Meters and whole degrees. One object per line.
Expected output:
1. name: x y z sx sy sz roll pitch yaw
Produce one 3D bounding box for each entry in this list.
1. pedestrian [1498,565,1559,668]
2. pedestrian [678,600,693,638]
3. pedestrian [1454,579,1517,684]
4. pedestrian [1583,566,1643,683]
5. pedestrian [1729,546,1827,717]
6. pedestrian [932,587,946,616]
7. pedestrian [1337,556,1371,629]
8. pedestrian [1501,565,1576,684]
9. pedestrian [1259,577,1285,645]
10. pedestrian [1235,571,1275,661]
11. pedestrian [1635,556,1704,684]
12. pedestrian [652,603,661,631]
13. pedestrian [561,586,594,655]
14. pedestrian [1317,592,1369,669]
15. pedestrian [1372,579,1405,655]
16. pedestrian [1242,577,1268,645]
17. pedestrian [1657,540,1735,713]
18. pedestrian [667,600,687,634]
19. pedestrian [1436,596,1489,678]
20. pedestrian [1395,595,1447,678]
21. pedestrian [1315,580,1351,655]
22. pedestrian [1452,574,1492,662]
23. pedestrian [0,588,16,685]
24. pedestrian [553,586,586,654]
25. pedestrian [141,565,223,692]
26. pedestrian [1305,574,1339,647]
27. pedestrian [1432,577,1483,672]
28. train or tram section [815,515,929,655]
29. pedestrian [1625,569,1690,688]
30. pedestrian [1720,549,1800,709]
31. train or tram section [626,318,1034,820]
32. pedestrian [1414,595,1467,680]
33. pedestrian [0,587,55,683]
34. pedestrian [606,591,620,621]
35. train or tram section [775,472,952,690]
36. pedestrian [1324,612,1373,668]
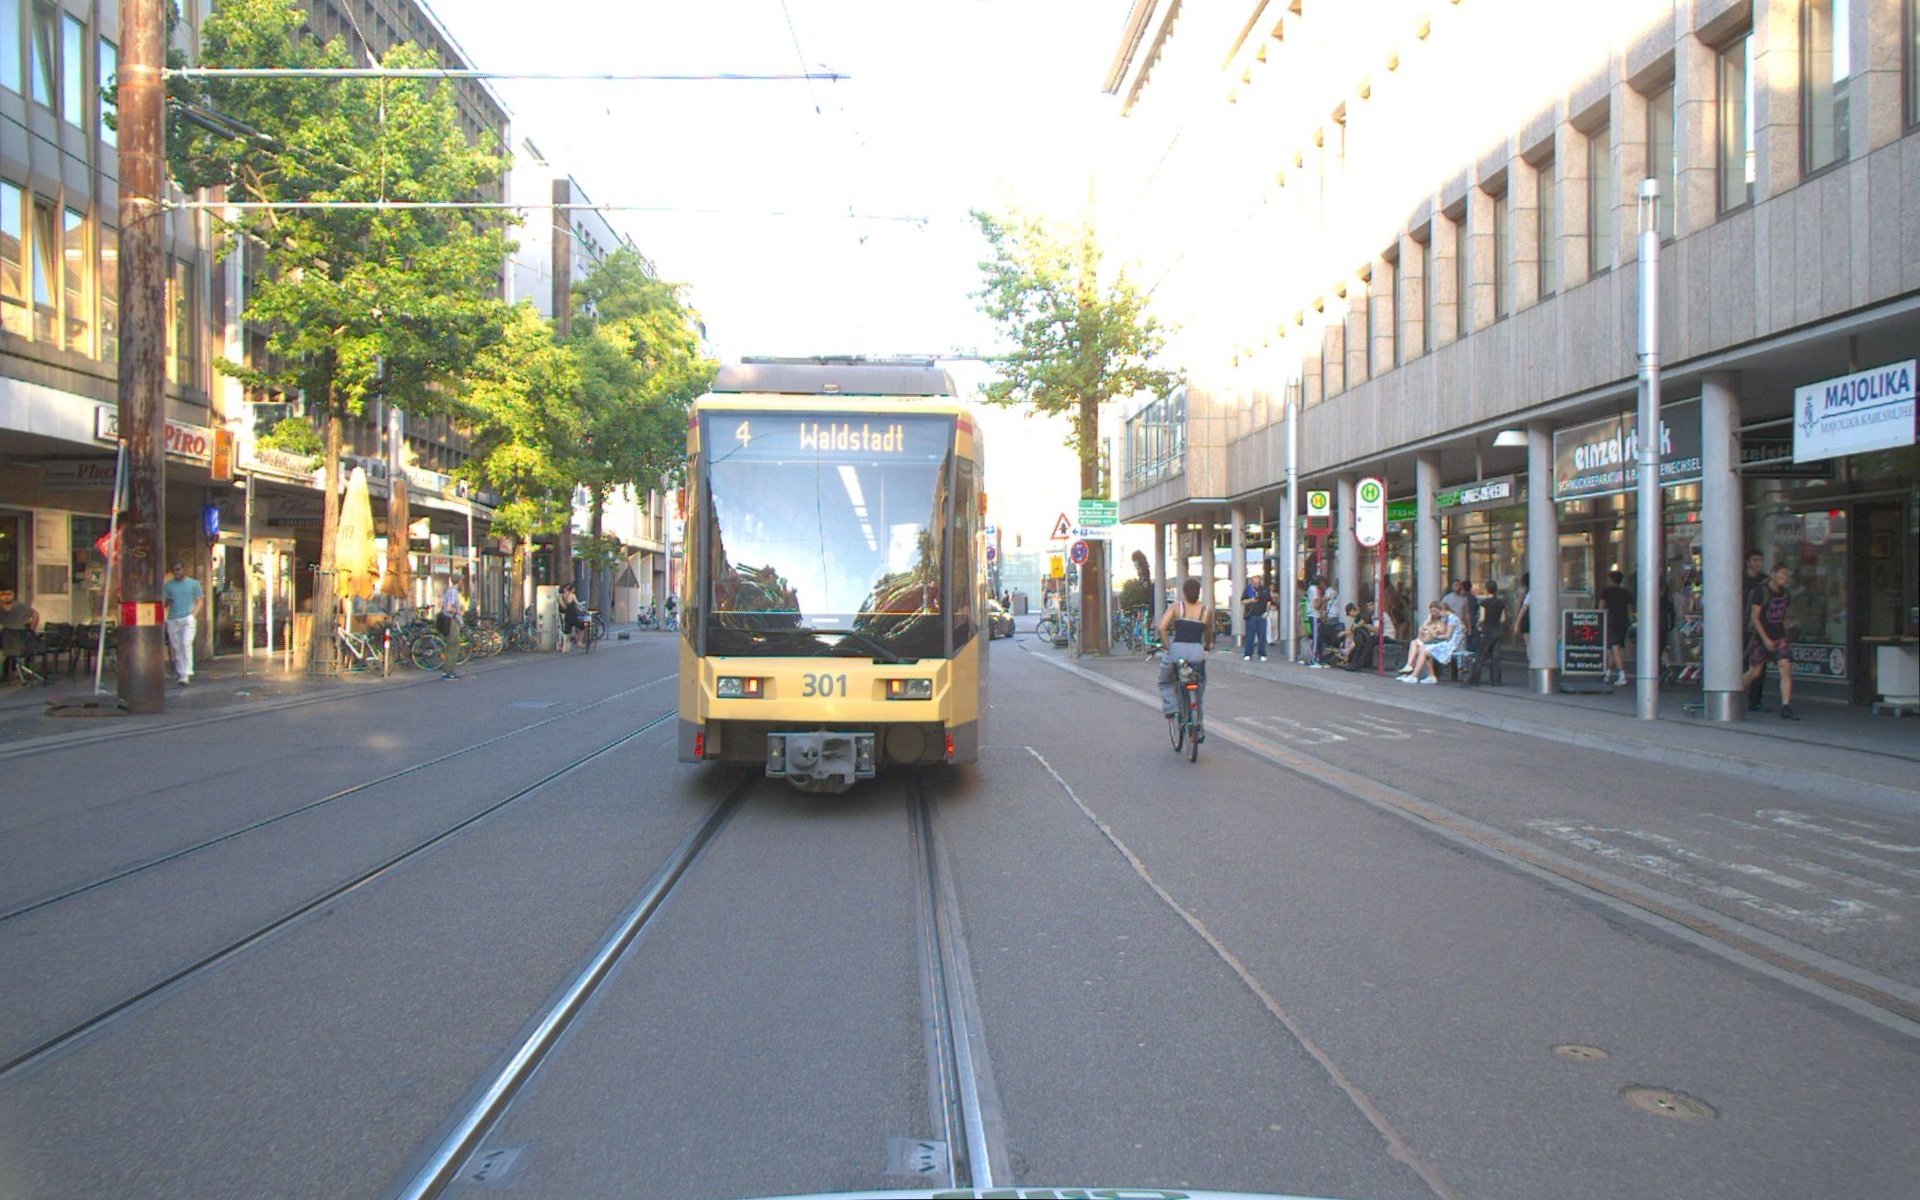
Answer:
1. pedestrian: 10.112 0.292 29.434 0.757 1.803 0.773 -1 0 -3
2. pedestrian: -11.118 0.760 67.047 0.592 1.520 0.554 0 -1 -10
3. pedestrian: 8.124 0.483 25.601 0.709 1.597 0.736 -1 0 -1
4. pedestrian: 10.207 0.373 25.873 0.570 1.783 0.773 -1 0 -3
5. pedestrian: 9.450 0.355 19.138 0.692 1.922 0.796 -1 0 -1
6. pedestrian: -1.335 0.087 103.777 0.722 1.855 0.816 0 0 -17
7. pedestrian: 10.053 -0.191 42.260 0.649 1.818 0.719 -1 0 -2
8. pedestrian: 9.092 0.386 26.024 0.827 1.829 0.858 -1 0 -2
9. pedestrian: 8.498 0.306 45.097 0.528 1.838 0.604 -1 0 -3
10. pedestrian: 6.268 0.332 35.136 0.655 1.872 0.708 -1 0 -3
11. pedestrian: 10.881 0.303 25.381 0.673 1.915 0.773 -1 0 -3
12. pedestrian: -17.054 0.956 93.053 0.499 1.574 0.516 0 -1 -10
13. pedestrian: -9.658 0.507 41.788 0.589 1.729 0.535 1 0 27
14. pedestrian: 7.103 0.554 30.664 0.796 1.405 0.662 1 0 -1
15. pedestrian: 10.062 0.401 38.851 0.559 1.762 0.617 -1 0 -3
16. pedestrian: 8.012 0.301 44.922 0.528 1.838 0.604 -1 0 -3
17. pedestrian: 8.586 0.302 19.318 0.566 1.978 0.655 -1 0 -2
18. pedestrian: -12.083 0.740 70.658 0.544 1.459 0.682 -1 -1 35
19. pedestrian: 8.275 0.607 27.253 0.703 1.337 0.532 1 -1 -1
20. pedestrian: 7.554 0.599 27.112 0.703 1.337 0.532 1 -1 -1
21. pedestrian: 8.575 0.404 38.073 0.635 1.690 0.650 -1 0 -2
22. pedestrian: 10.328 0.357 33.380 0.559 1.762 0.617 -1 0 -3
23. pedestrian: -13.610 0.495 22.784 0.657 1.349 0.911 2 -1 -4
24. pedestrian: -9.975 0.507 42.234 0.589 1.729 0.535 1 0 27
25. pedestrian: -11.640 0.422 24.774 0.670 1.824 0.990 2 -1 2
26. pedestrian: 9.254 0.268 42.285 0.649 1.818 0.719 -1 0 -2
27. pedestrian: 9.079 0.439 30.185 0.673 1.690 0.722 -1 0 -1
28. train or tram section: -2.444 -0.408 47.407 2.744 3.377 14.501 0 0 -3
29. pedestrian: 10.153 0.410 24.090 0.635 1.690 0.680 -1 0 -1
30. pedestrian: 9.798 0.353 20.282 0.603 1.922 0.683 -1 0 -1
31. train or tram section: -1.188 -0.249 18.439 2.744 3.377 14.501 0 0 -3
32. pedestrian: 7.715 0.598 26.569 0.703 1.337 0.524 1 -1 -1
33. pedestrian: -13.715 0.497 23.976 0.657 1.349 0.911 2 -1 -4
34. pedestrian: -20.255 0.332 96.562 0.699 1.756 0.709 0 -1 -4
35. train or tram section: -1.813 -0.333 32.934 2.744 3.377 14.501 0 0 -3
36. pedestrian: 7.384 0.756 31.424 0.796 1.061 0.544 1 0 -1
